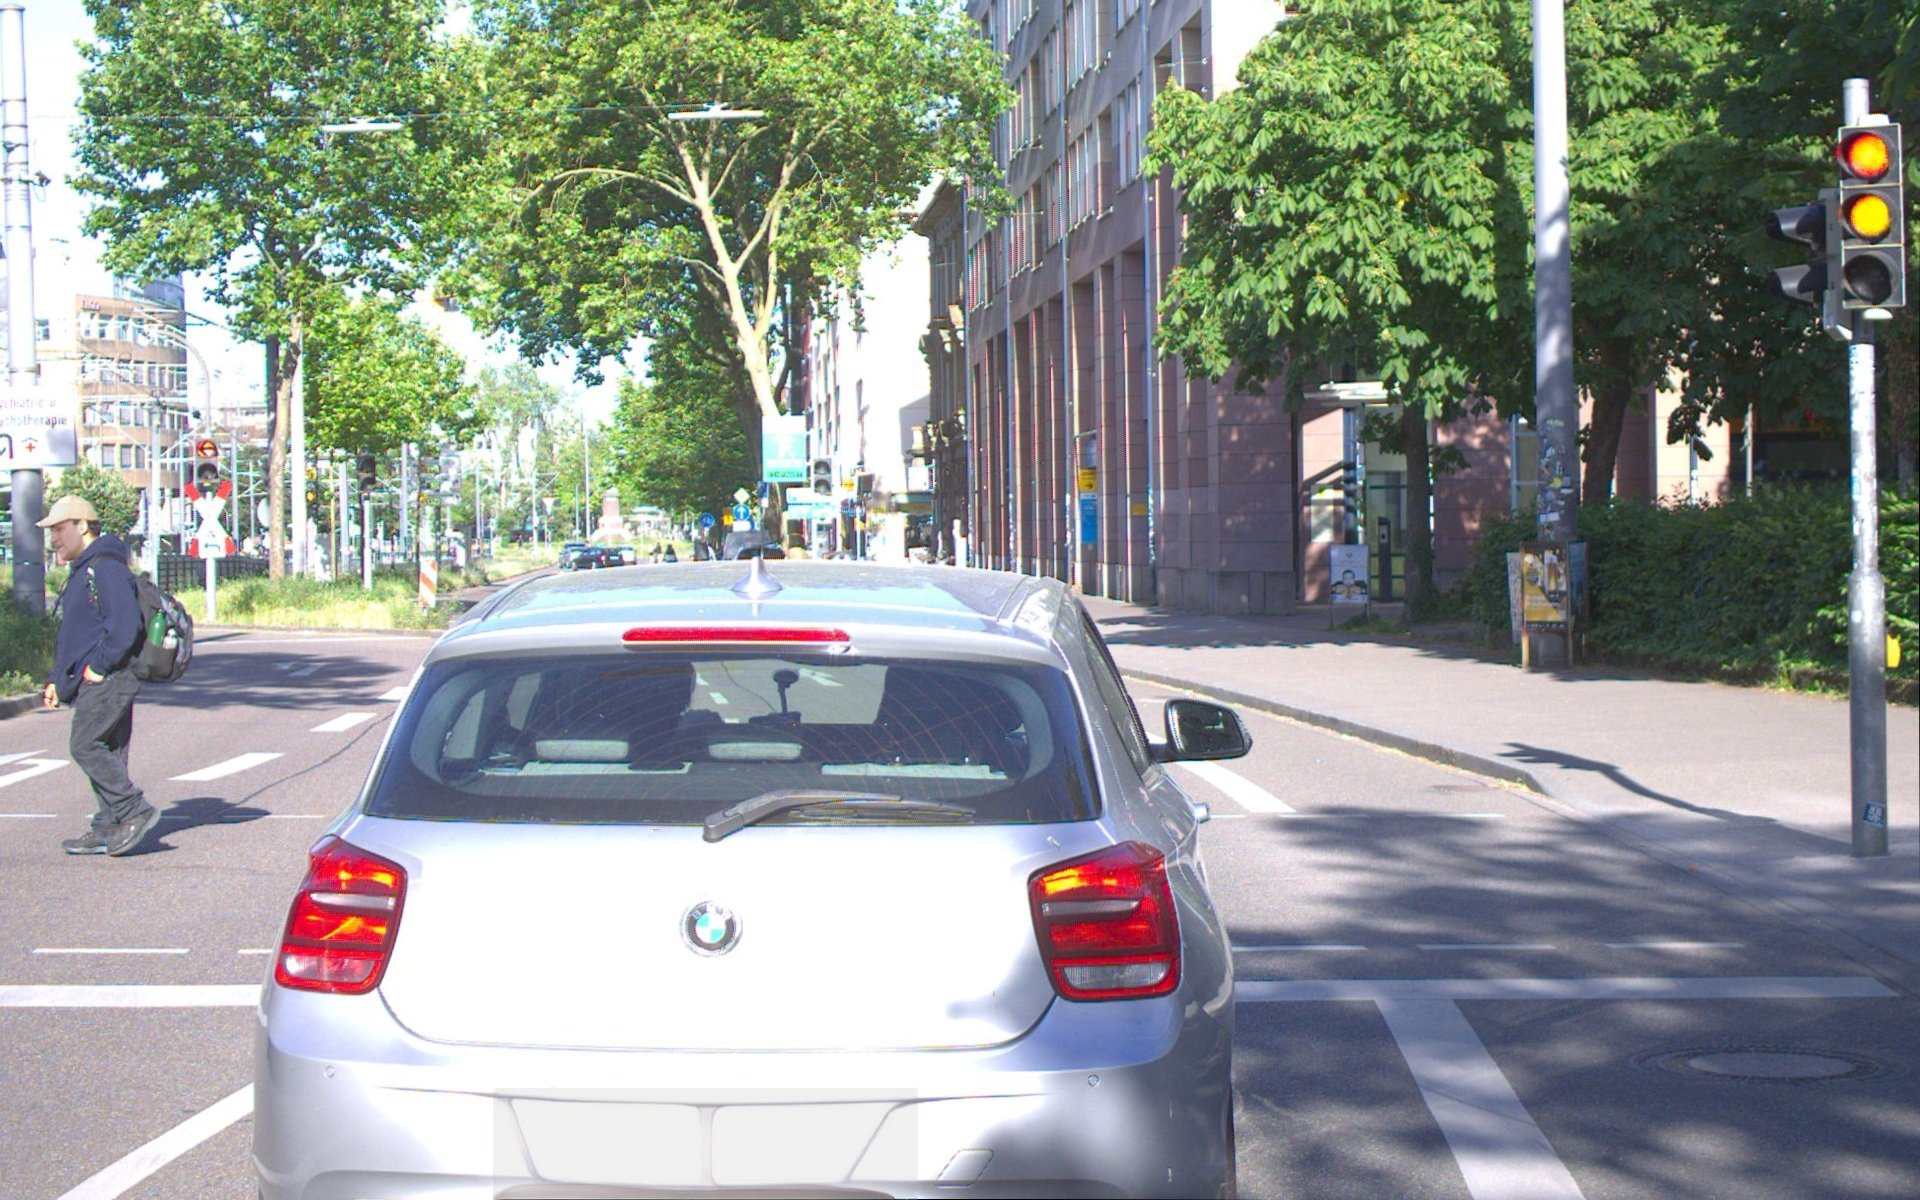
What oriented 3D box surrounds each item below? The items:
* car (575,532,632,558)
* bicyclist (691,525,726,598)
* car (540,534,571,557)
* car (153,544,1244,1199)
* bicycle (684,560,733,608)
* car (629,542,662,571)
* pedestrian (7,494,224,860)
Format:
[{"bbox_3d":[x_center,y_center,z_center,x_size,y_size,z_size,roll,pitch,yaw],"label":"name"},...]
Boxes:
[{"bbox_3d":[-21.487,-3.312,207.142,1.993,1.481,4.000,-1,1,-29],"label":"car"},{"bbox_3d":[-5.800,-0.898,79.369,0.658,1.651,0.765,-1,1,4],"label":"bicyclist"},{"bbox_3d":[-26.253,-3.560,223.055,1.993,1.481,4.001,-1,1,-7],"label":"car"},{"bbox_3d":[-0.337,0.616,7.374,1.730,1.385,3.840,1,2,3],"label":"car"},{"bbox_3d":[-5.800,-0.376,79.424,0.831,1.038,1.874,-1,1,5],"label":"bicycle"},{"bbox_3d":[-22.601,-3.129,247.308,1.993,2.007,4.000,1,0,0],"label":"car"},{"bbox_3d":[-3.839,0.337,15.658,0.940,1.623,0.629,0,1,-13],"label":"pedestrian"}]
